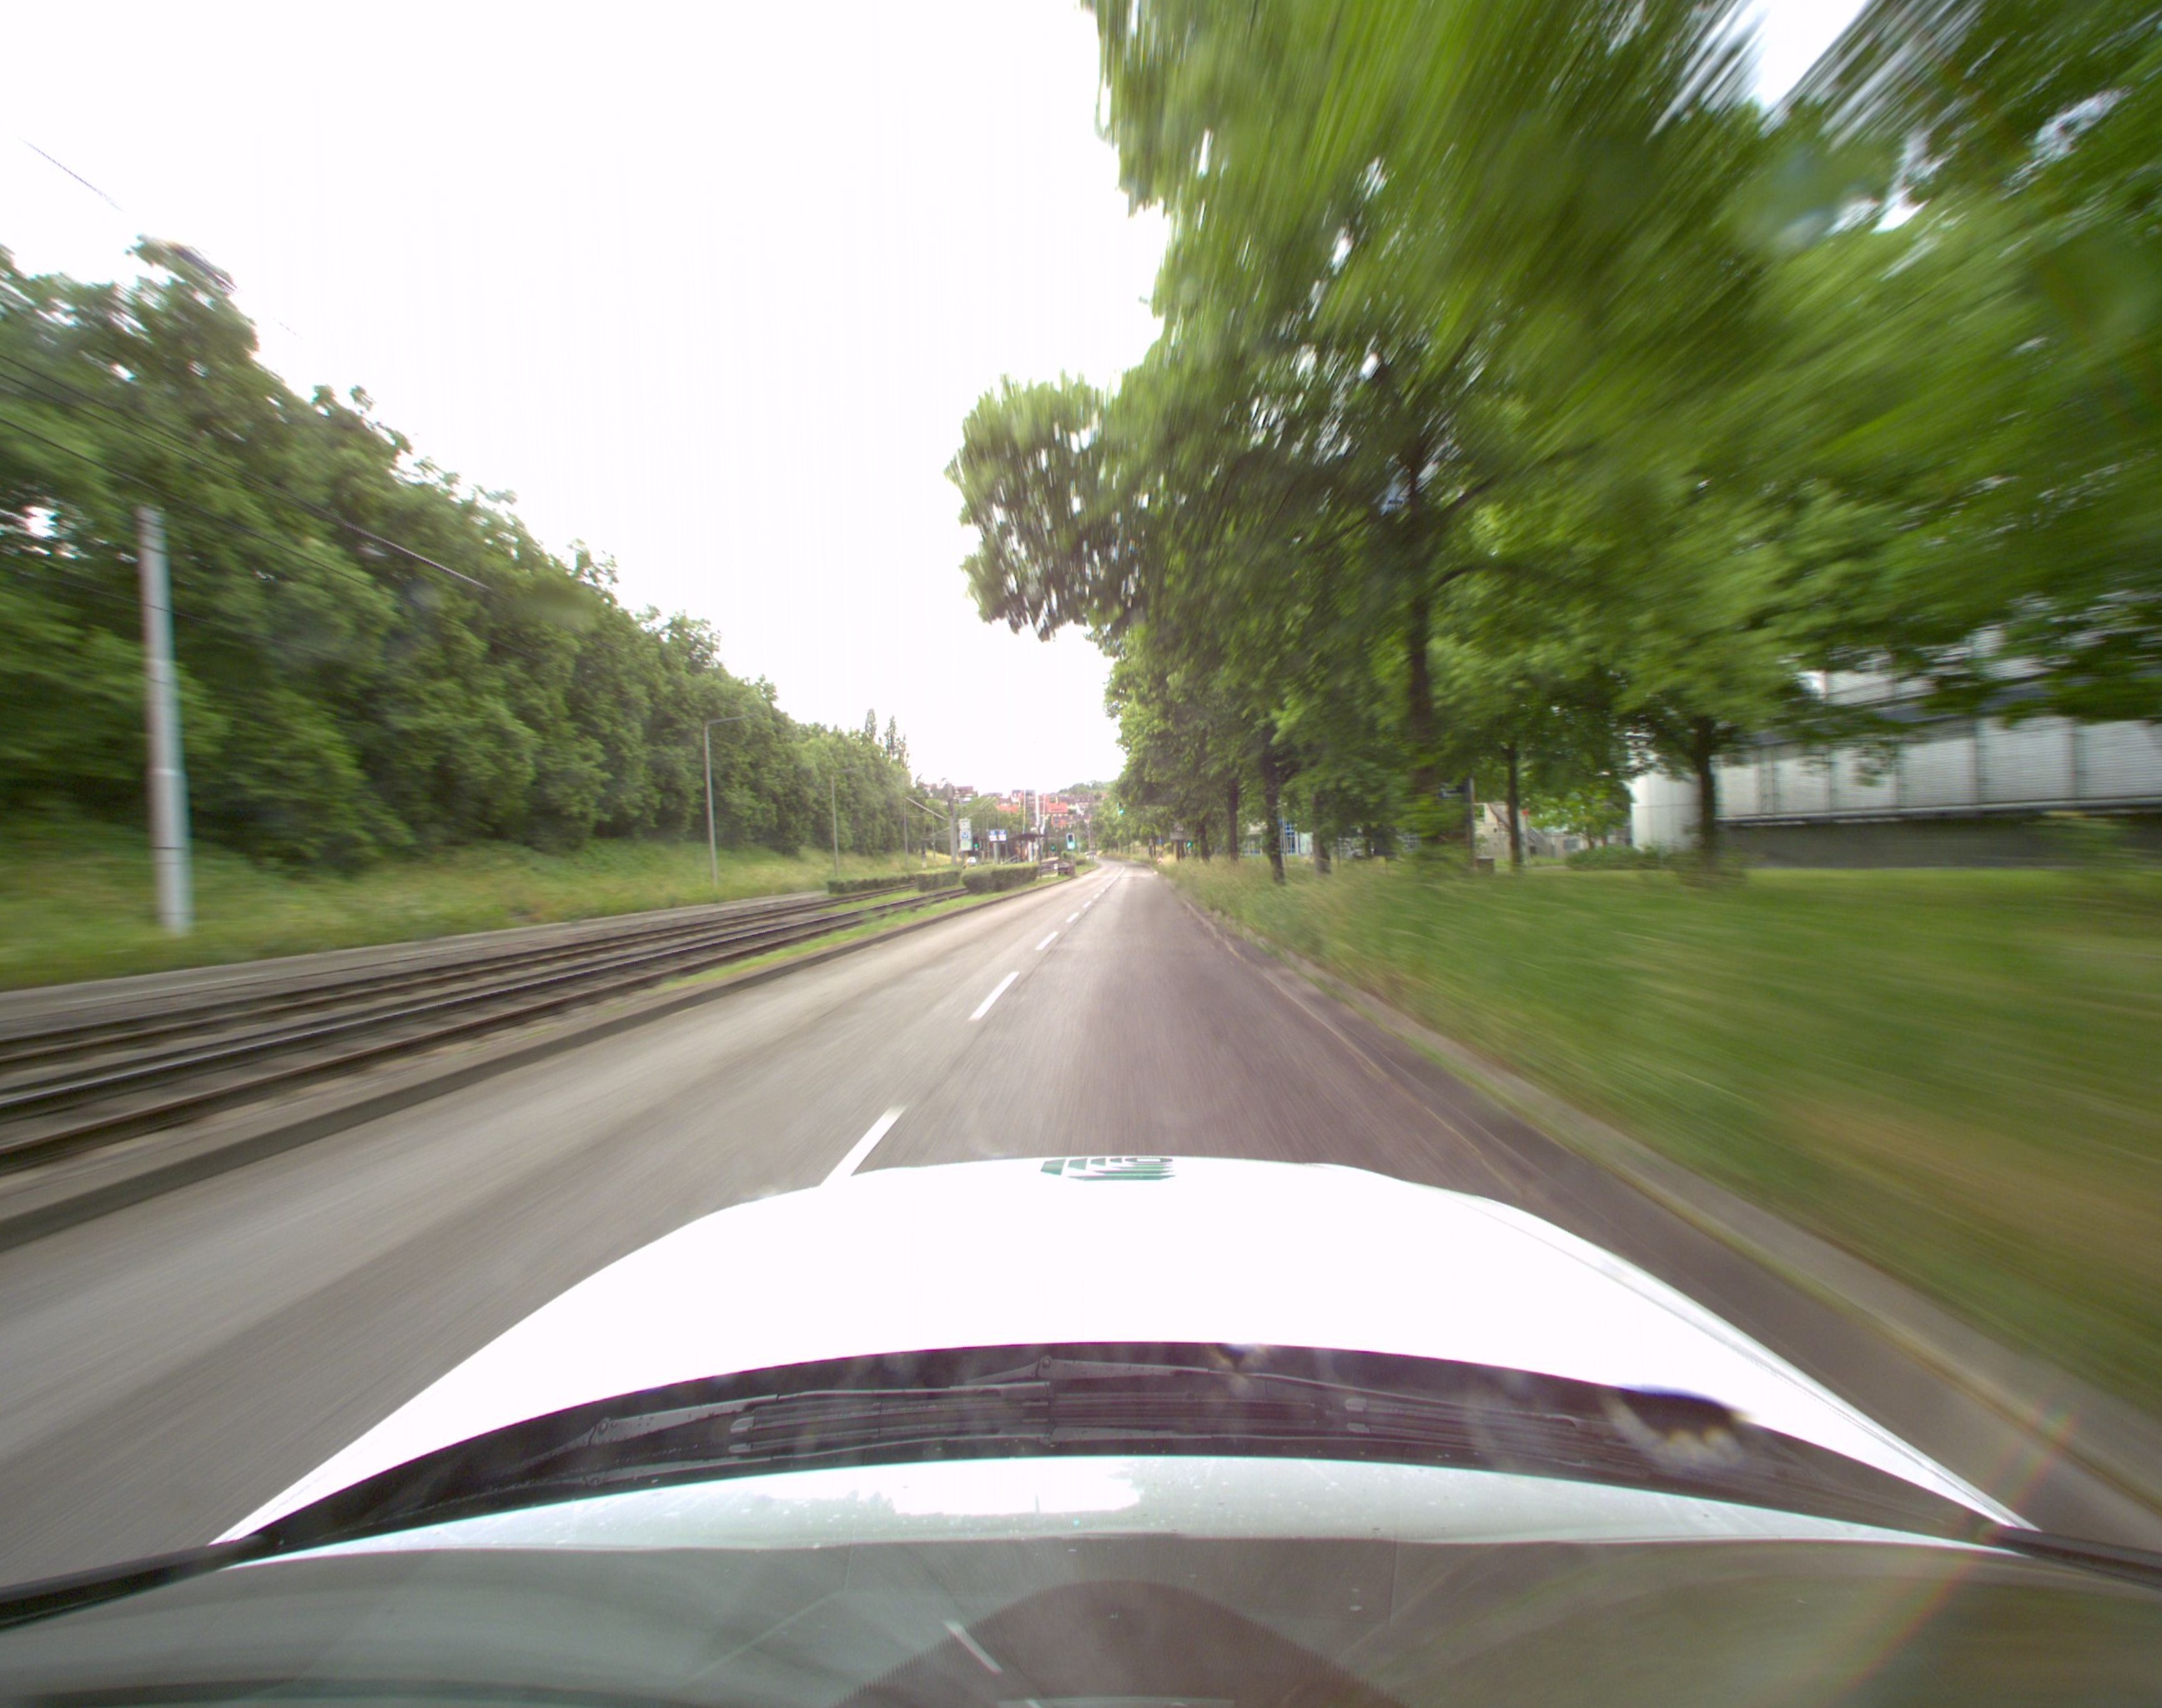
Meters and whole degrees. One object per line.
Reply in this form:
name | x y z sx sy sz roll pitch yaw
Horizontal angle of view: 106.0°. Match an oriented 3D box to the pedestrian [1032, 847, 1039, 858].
pedestrian | -6.984 -0.285 124.883 0.932 1.611 1.027 -2 0 0
